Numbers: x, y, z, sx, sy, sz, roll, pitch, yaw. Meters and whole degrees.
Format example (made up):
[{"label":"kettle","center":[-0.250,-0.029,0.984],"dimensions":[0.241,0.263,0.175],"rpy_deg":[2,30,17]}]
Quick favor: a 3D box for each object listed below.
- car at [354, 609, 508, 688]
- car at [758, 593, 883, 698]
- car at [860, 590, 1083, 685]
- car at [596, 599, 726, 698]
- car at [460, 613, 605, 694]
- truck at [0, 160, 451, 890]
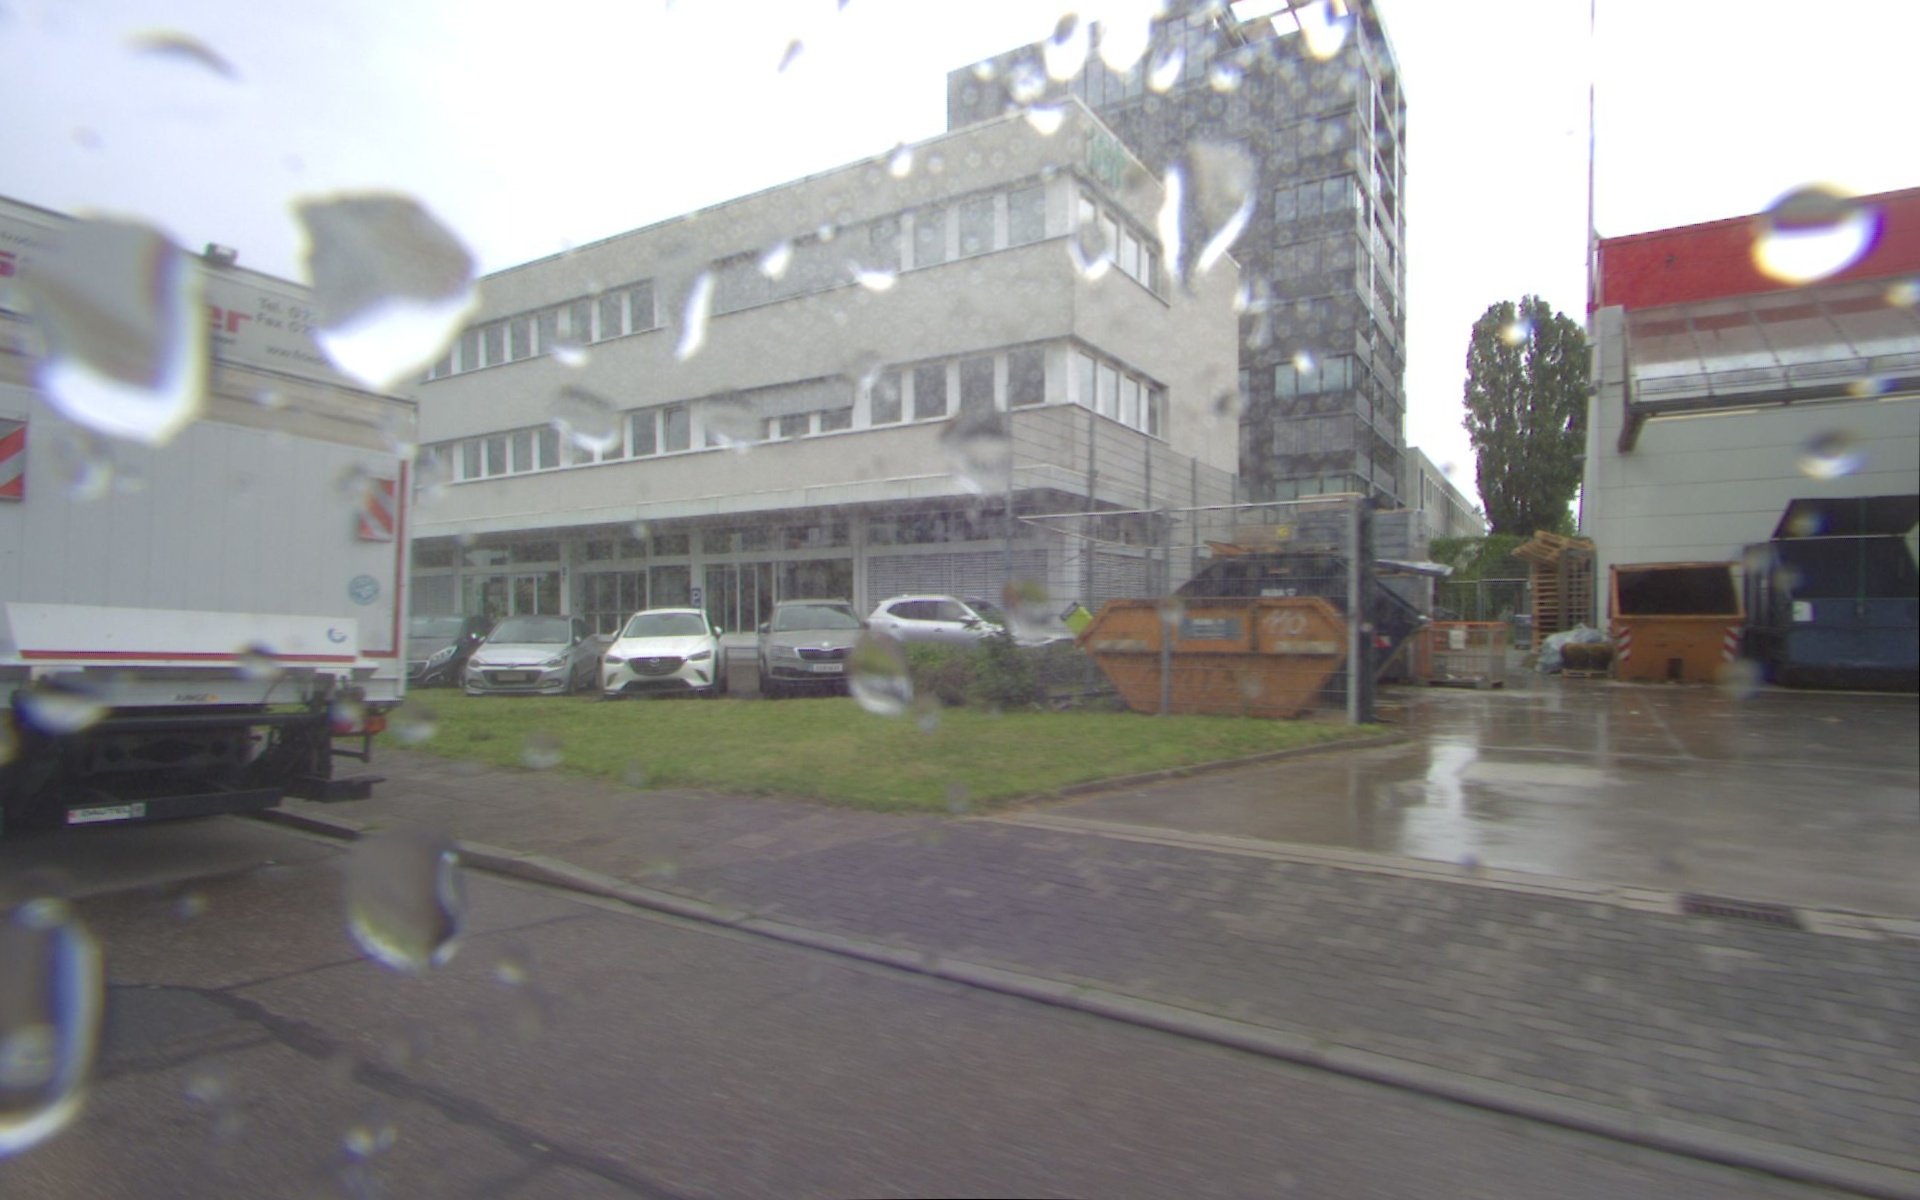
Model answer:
[{"label":"car","center":[-10.339,0.890,19.868],"dimensions":[1.675,1.411,3.765],"rpy_deg":[0,0,-11]},{"label":"car","center":[-2.455,0.687,16.825],"dimensions":[1.838,1.547,3.996],"rpy_deg":[0,0,-12]},{"label":"car","center":[0.211,0.707,20.200],"dimensions":[4.084,1.728,1.990],"rpy_deg":[-1,0,32]},{"label":"car","center":[-4.959,0.745,17.065],"dimensions":[1.742,1.489,3.997],"rpy_deg":[0,0,-11]},{"label":"car","center":[-7.736,0.902,18.489],"dimensions":[1.675,1.303,3.997],"rpy_deg":[0,-1,-11]},{"label":"truck","center":[-8.314,-0.292,8.678],"dimensions":[9.170,3.836,2.736],"rpy_deg":[-1,-3,34]}]
